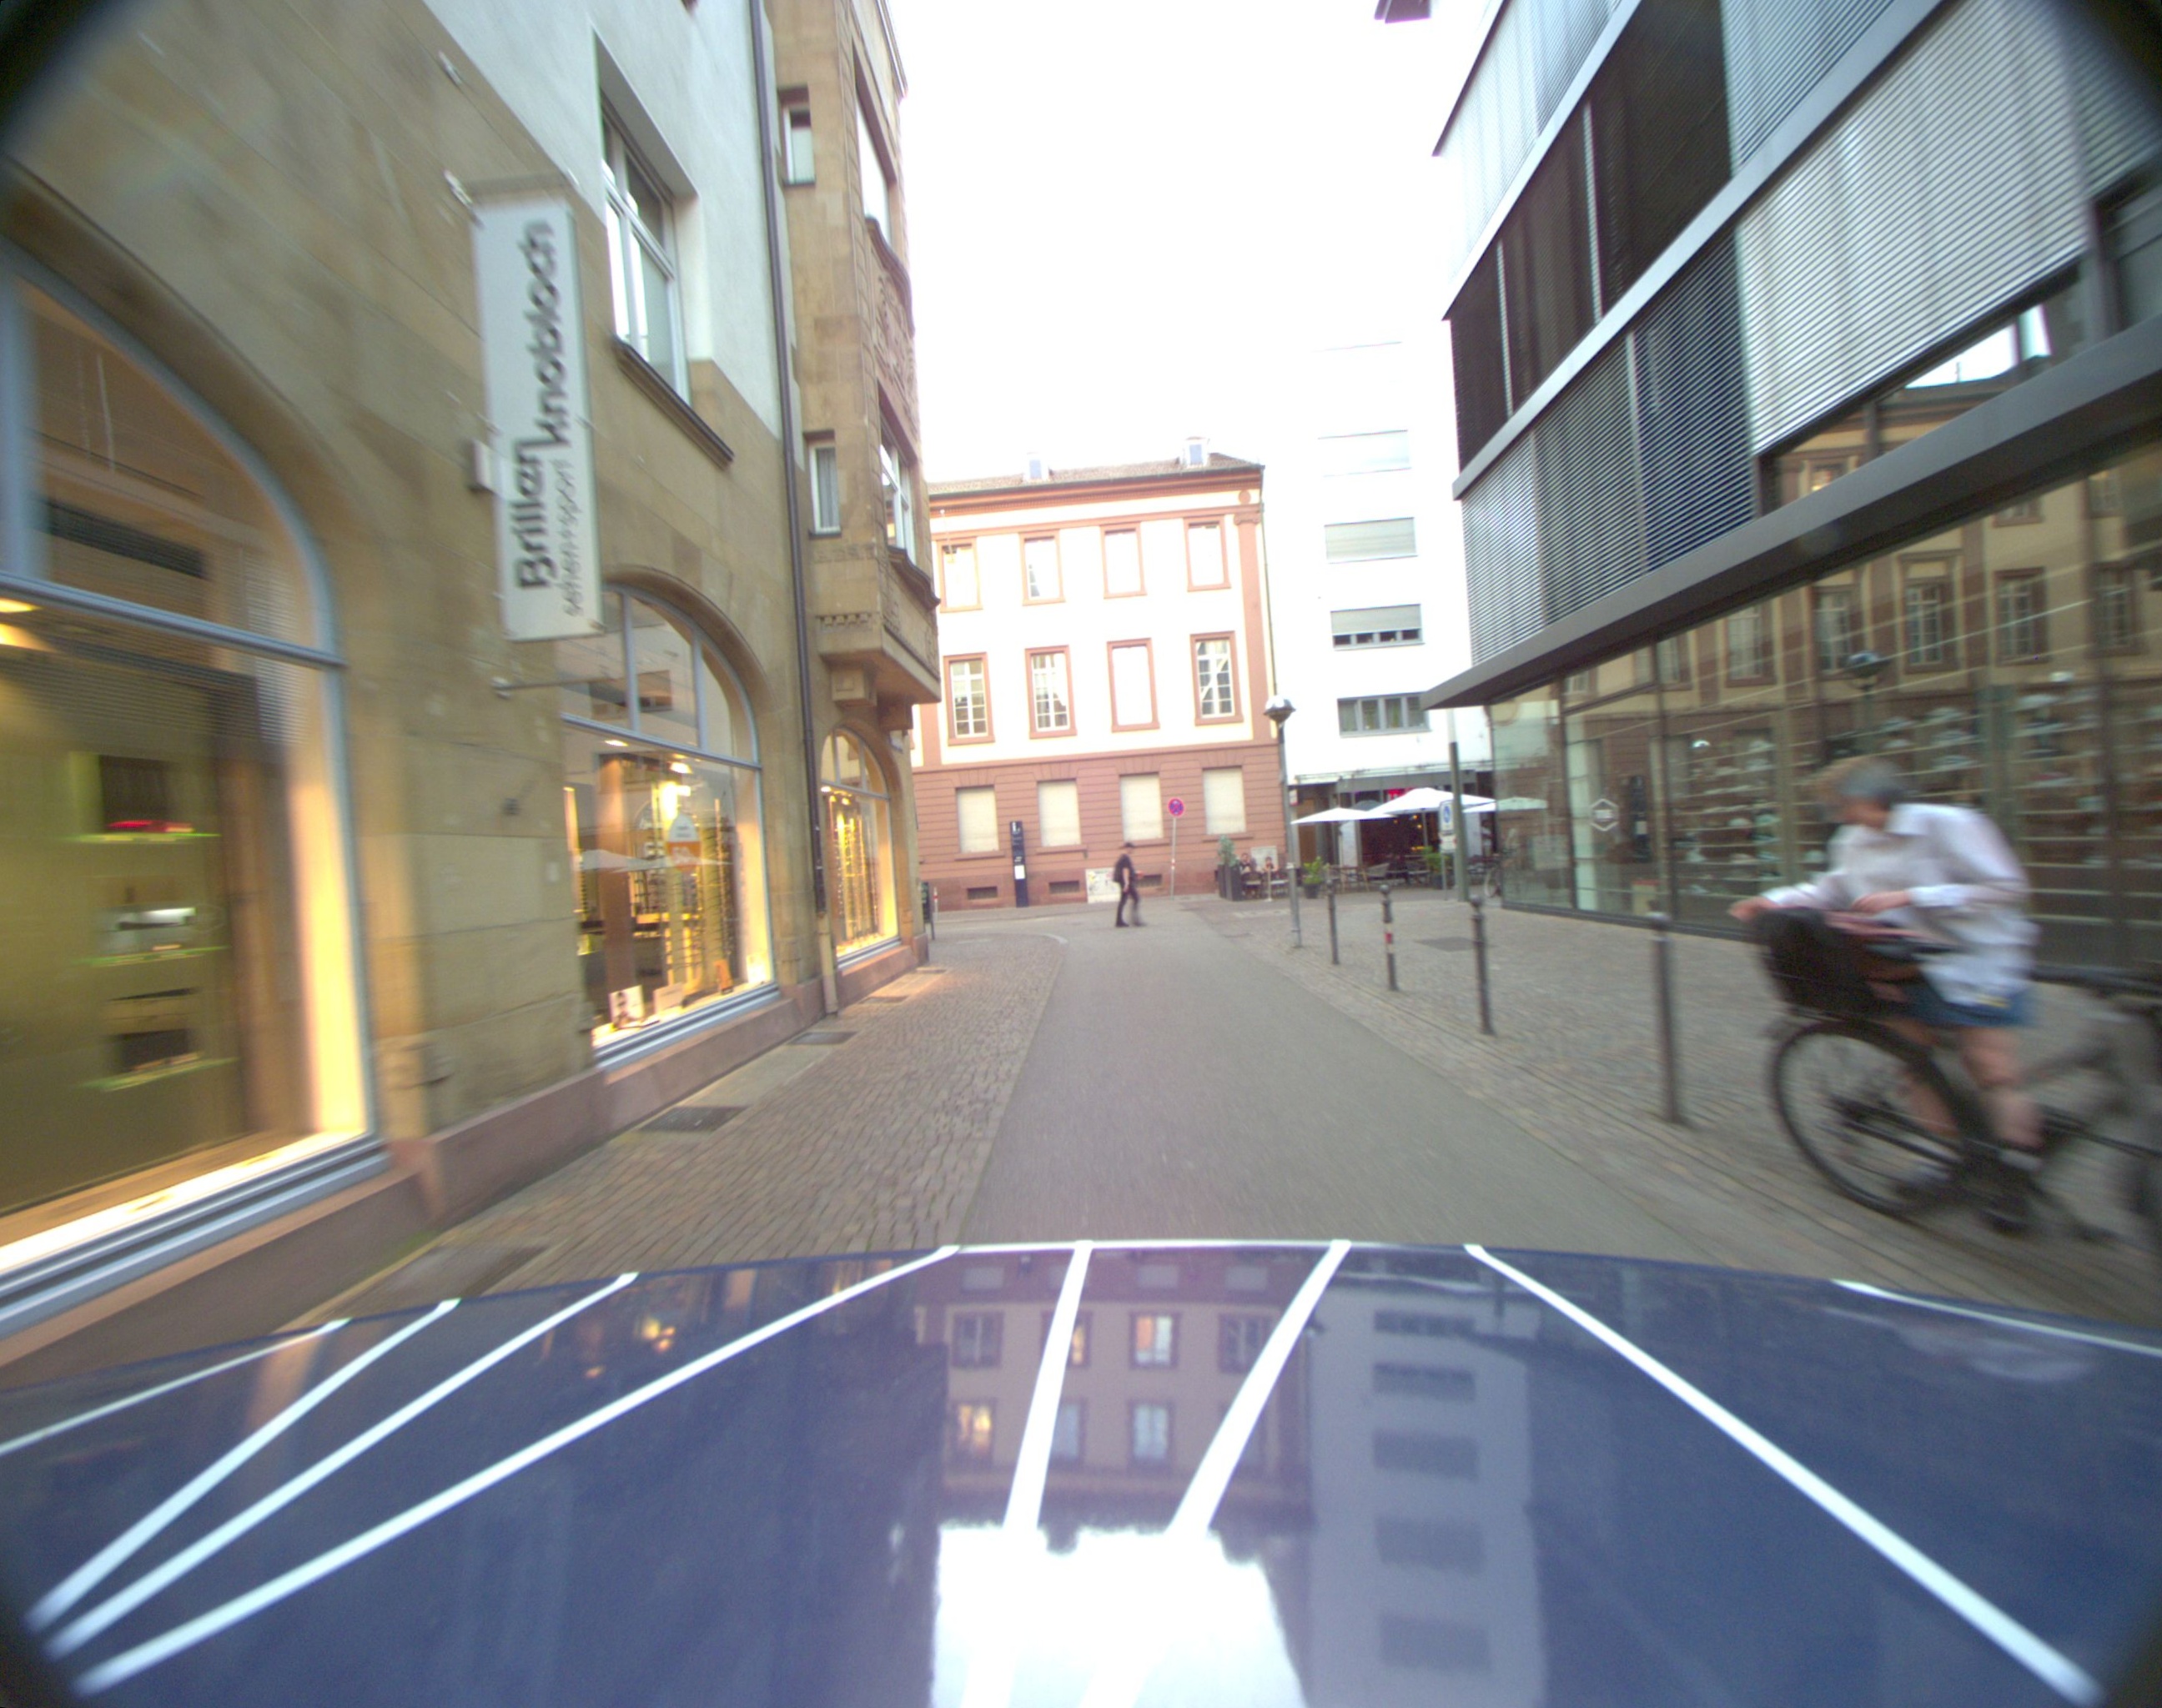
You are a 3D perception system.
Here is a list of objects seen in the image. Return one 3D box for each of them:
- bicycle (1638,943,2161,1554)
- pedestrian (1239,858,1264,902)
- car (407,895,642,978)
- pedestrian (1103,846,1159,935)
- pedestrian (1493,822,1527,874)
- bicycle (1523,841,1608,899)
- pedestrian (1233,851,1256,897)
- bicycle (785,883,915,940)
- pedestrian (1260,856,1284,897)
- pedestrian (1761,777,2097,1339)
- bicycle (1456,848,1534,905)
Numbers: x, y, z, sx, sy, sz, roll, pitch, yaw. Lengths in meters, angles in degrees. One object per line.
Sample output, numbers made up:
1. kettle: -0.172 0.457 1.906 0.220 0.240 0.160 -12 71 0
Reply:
1. bicycle: 2.673 0.979 2.305 0.534 1.147 1.915 -6 0 3
2. pedestrian: 4.822 0.733 21.545 0.561 1.204 0.461 -4 1 4
3. car: -12.226 1.799 16.830 3.996 1.434 1.651 -4 0 4
4. pedestrian: 1.049 0.757 16.011 0.968 1.775 0.740 -4 1 -4
5. pedestrian: 14.022 -0.193 24.837 0.671 1.655 0.623 -4 0 -25
6. bicycle: 10.420 0.347 16.436 0.609 1.143 1.842 -4 -1 1
7. pedestrian: 4.958 0.607 23.041 0.549 1.341 0.489 -4 1 4
8. bicycle: -6.187 1.534 20.493 3.155 1.252 0.923 -4 0 0
9. pedestrian: 5.730 0.670 22.791 0.549 1.204 0.524 -4 1 4
10. pedestrian: 2.995 0.617 2.777 0.590 1.708 0.771 -5 1 38
11. bicycle: 8.825 0.472 16.281 0.709 1.106 1.674 -4 -1 1
